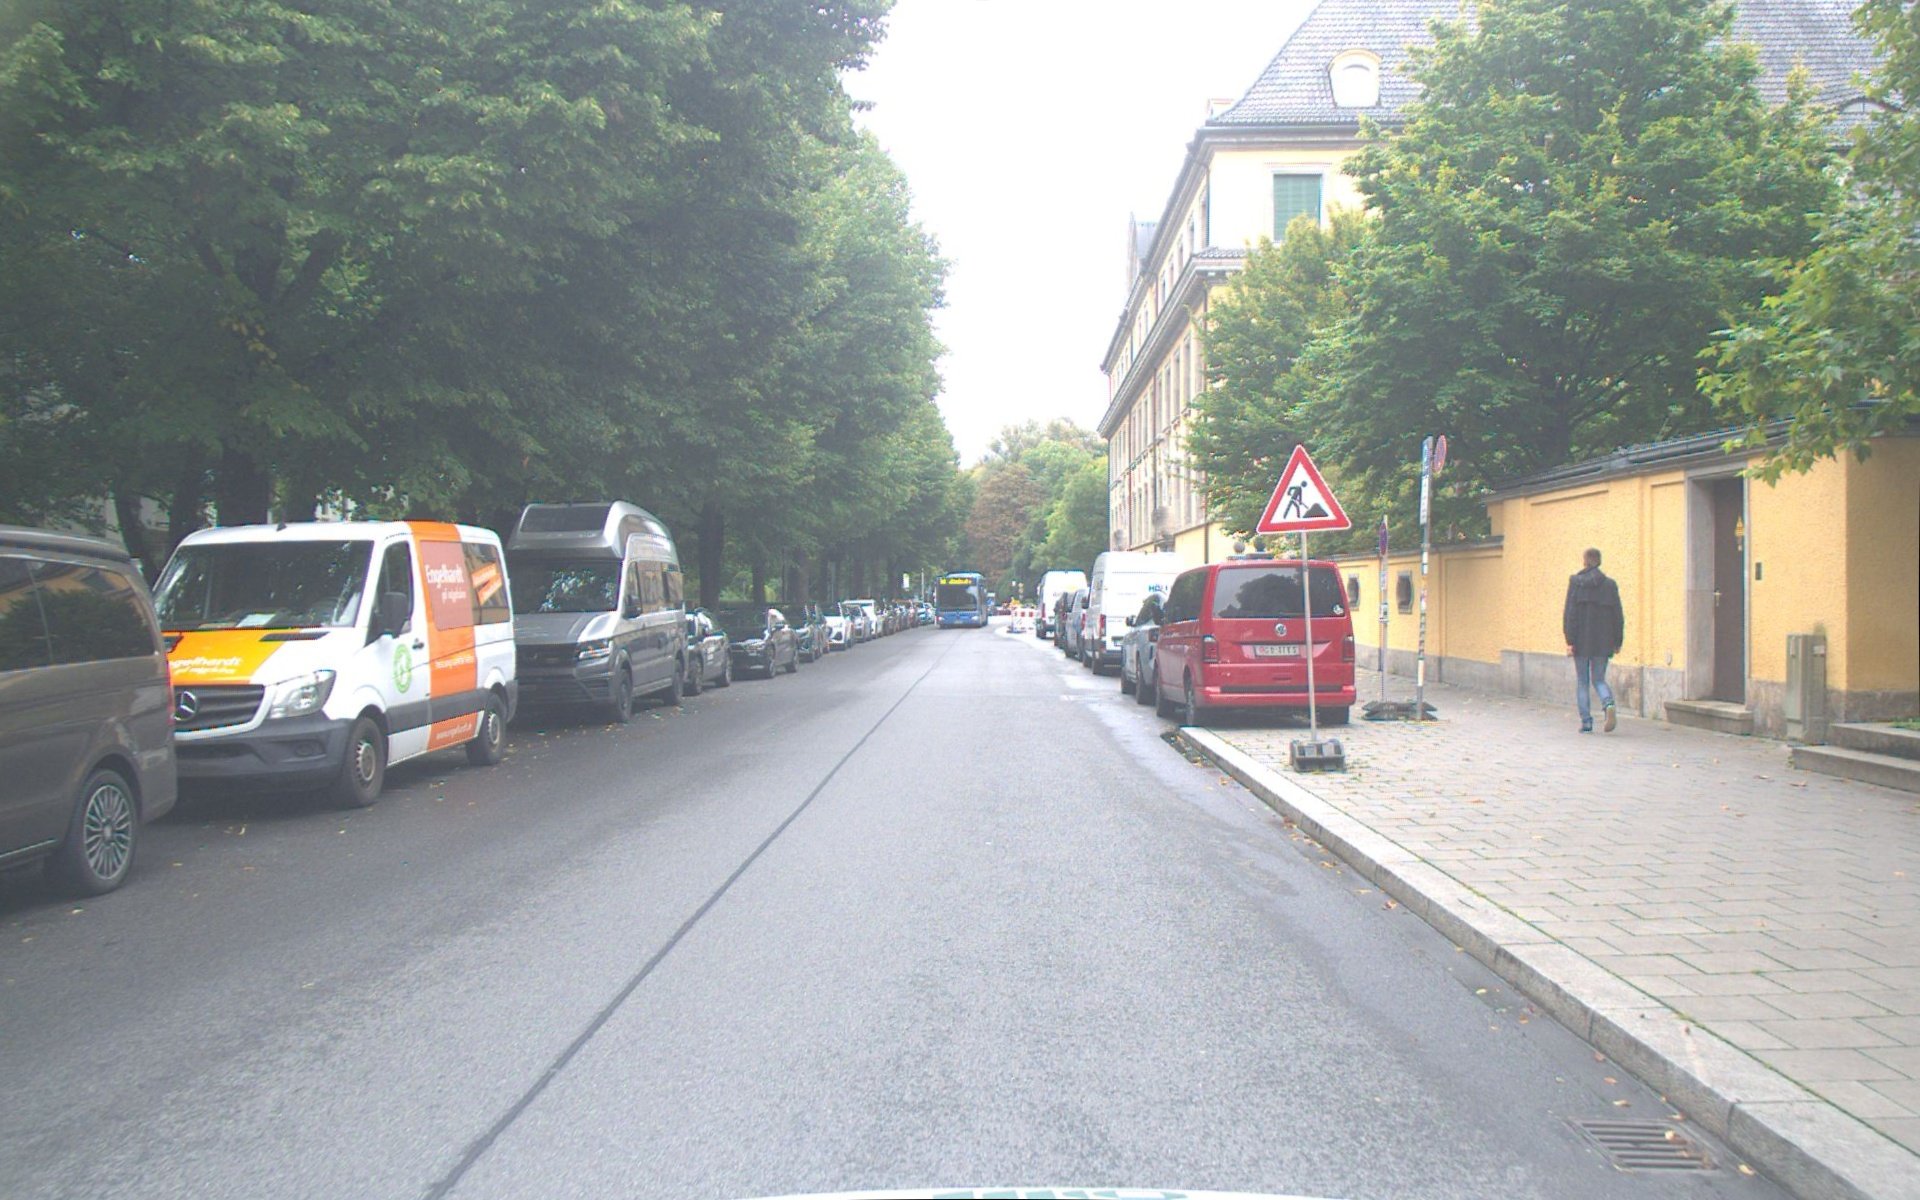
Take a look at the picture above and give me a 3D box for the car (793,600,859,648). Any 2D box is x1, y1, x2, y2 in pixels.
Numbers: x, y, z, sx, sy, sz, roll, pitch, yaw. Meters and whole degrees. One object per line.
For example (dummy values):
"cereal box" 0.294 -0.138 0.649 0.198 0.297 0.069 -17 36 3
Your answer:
"car" -4.376 0.769 54.525 1.814 1.499 4.000 -1 0 1

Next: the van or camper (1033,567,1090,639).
"van or camper" 4.139 0.119 68.271 2.072 2.780 5.243 -2 0 1

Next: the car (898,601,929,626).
"car" -3.027 0.851 108.090 1.814 1.599 4.000 -1 0 1

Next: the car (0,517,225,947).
"car" -5.332 0.630 7.356 1.849 1.967 5.206 -2 0 -1

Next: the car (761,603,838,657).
"car" -4.657 0.841 48.577 1.814 1.499 4.000 -1 0 1

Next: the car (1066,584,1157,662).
"car" 3.917 0.566 43.447 1.950 1.876 4.322 -2 0 0

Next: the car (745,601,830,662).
"car" -4.475 0.803 43.467 1.814 1.499 4.000 -1 0 0

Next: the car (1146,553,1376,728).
"car" 3.587 0.445 20.602 1.950 1.871 4.713 -2 0 0

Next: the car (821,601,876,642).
"car" -4.315 0.820 64.637 1.814 1.499 4.000 -1 0 1

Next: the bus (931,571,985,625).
"bus" -0.008 -0.115 99.396 2.656 2.950 14.557 -1 0 2

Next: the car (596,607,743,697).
"car" -5.056 0.871 29.275 1.836 1.441 4.000 -1 0 1

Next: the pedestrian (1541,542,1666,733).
"pedestrian" 6.515 0.366 16.795 0.855 1.863 1.052 -1 0 2

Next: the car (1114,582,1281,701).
"car" 3.604 0.594 25.863 1.950 1.637 4.322 -2 0 0

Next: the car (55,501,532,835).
"car" -5.401 0.480 14.344 1.906 2.312 5.243 -2 0 1

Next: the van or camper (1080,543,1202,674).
"van or camper" 3.861 0.167 36.251 2.088 2.590 5.243 -2 0 1

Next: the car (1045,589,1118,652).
"car" 3.801 0.623 52.377 1.950 1.876 4.322 -2 0 0

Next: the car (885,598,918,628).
"car" -3.490 0.767 99.368 1.814 1.731 4.000 -1 0 1

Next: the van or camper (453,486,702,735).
"van or camper" -5.161 0.124 23.295 1.960 2.996 6.011 -2 0 1

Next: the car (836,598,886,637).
"car" -4.186 0.728 70.351 1.814 1.591 4.000 -1 0 1

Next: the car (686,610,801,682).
"car" -4.488 0.927 34.820 1.836 1.371 4.000 -1 0 1
